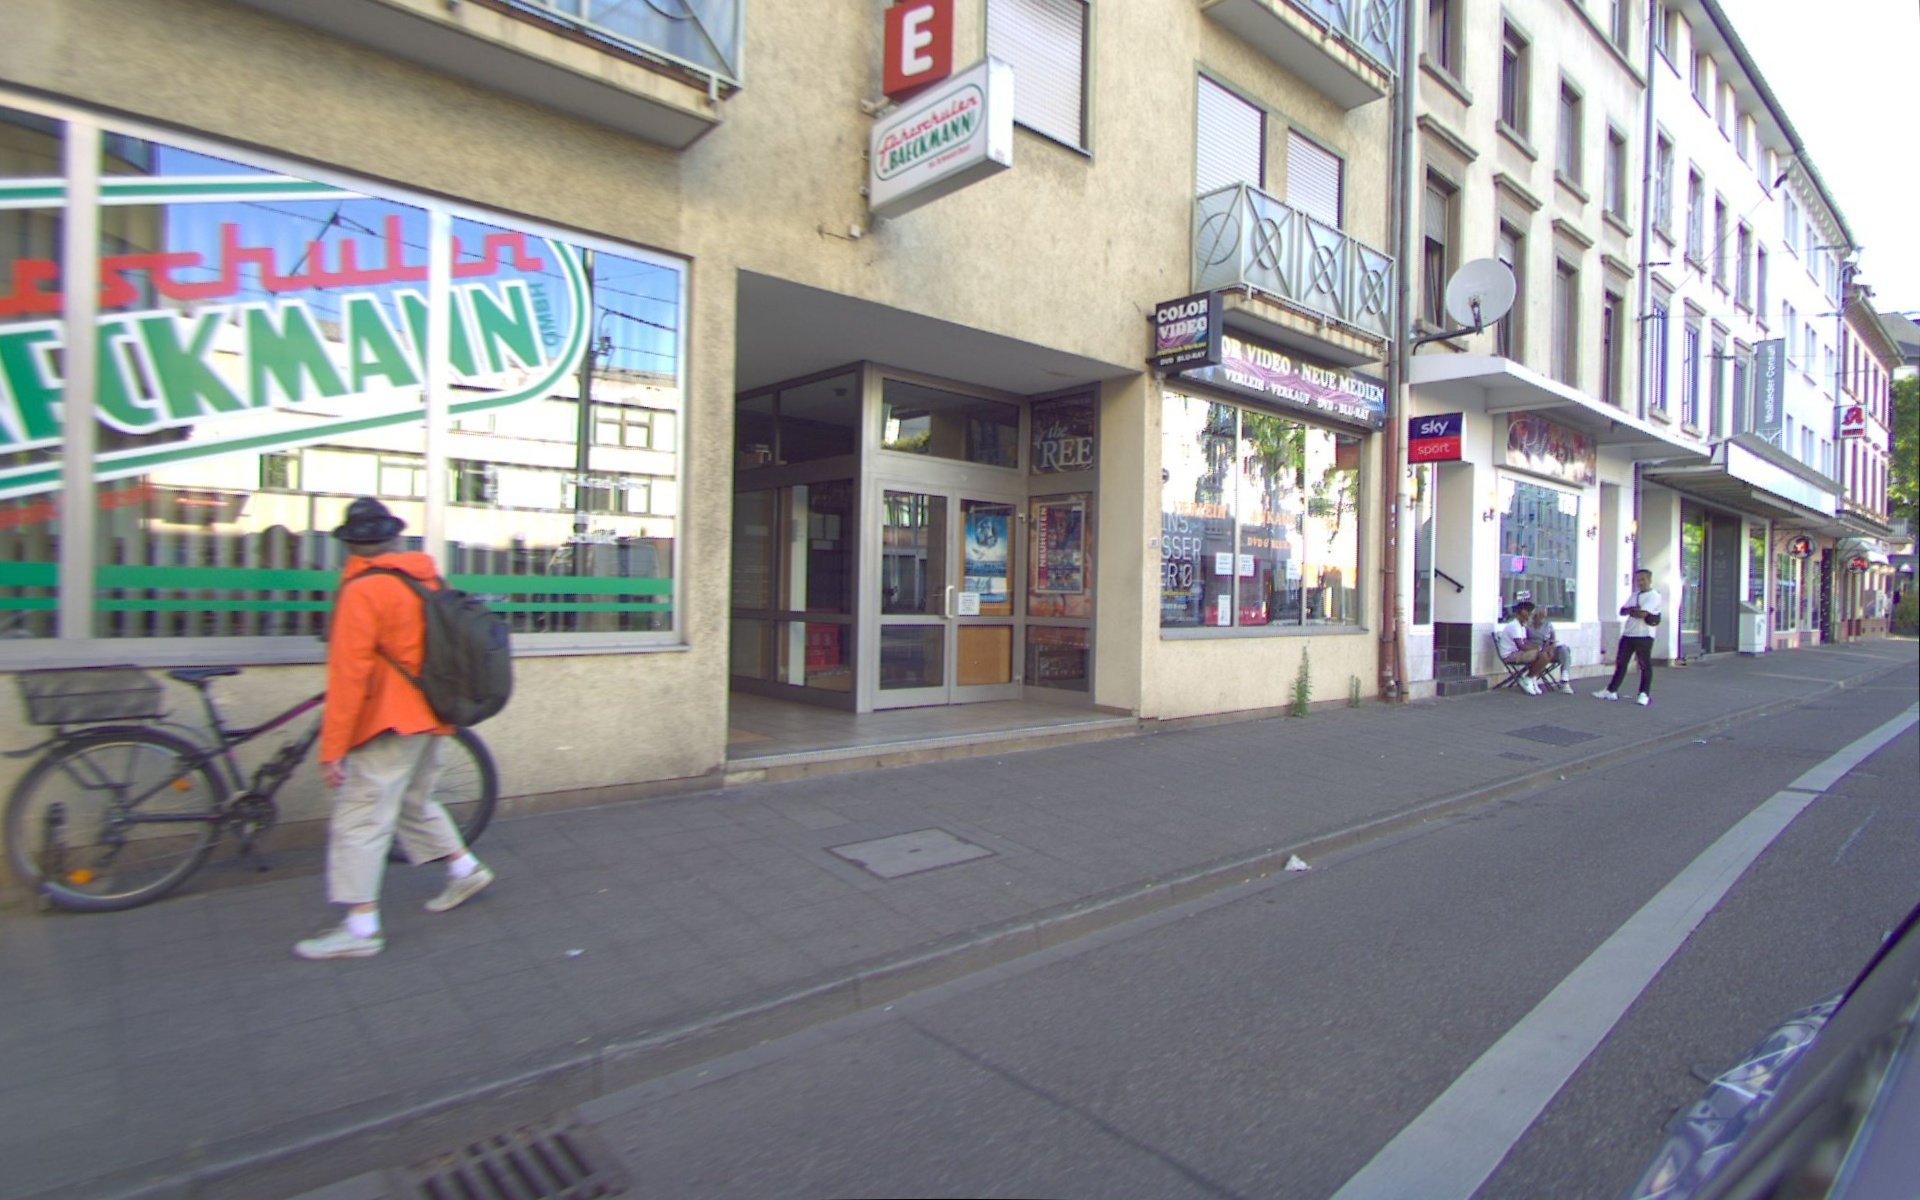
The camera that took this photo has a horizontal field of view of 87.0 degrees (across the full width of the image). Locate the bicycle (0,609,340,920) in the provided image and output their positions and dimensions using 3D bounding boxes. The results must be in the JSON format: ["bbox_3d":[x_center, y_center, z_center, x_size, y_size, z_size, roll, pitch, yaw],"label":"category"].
[{"bbox_3d":[-3.668,0.594,3.753,2.271,1.074,0.556,0,2,-41],"label":"bicycle"}]

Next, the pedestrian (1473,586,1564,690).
[{"bbox_3d":[7.578,0.498,13.769,0.819,1.270,0.704,5,4,14],"label":"pedestrian"}]

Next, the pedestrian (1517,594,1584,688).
[{"bbox_3d":[8.411,0.558,14.448,0.701,1.188,1.006,6,4,29],"label":"pedestrian"}]

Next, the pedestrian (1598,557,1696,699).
[{"bbox_3d":[9.369,0.374,13.816,0.665,1.833,0.709,2,4,-26],"label":"pedestrian"}]

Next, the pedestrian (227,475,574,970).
[{"bbox_3d":[-2.097,0.395,3.887,0.811,1.647,0.799,5,4,6],"label":"pedestrian"}]
